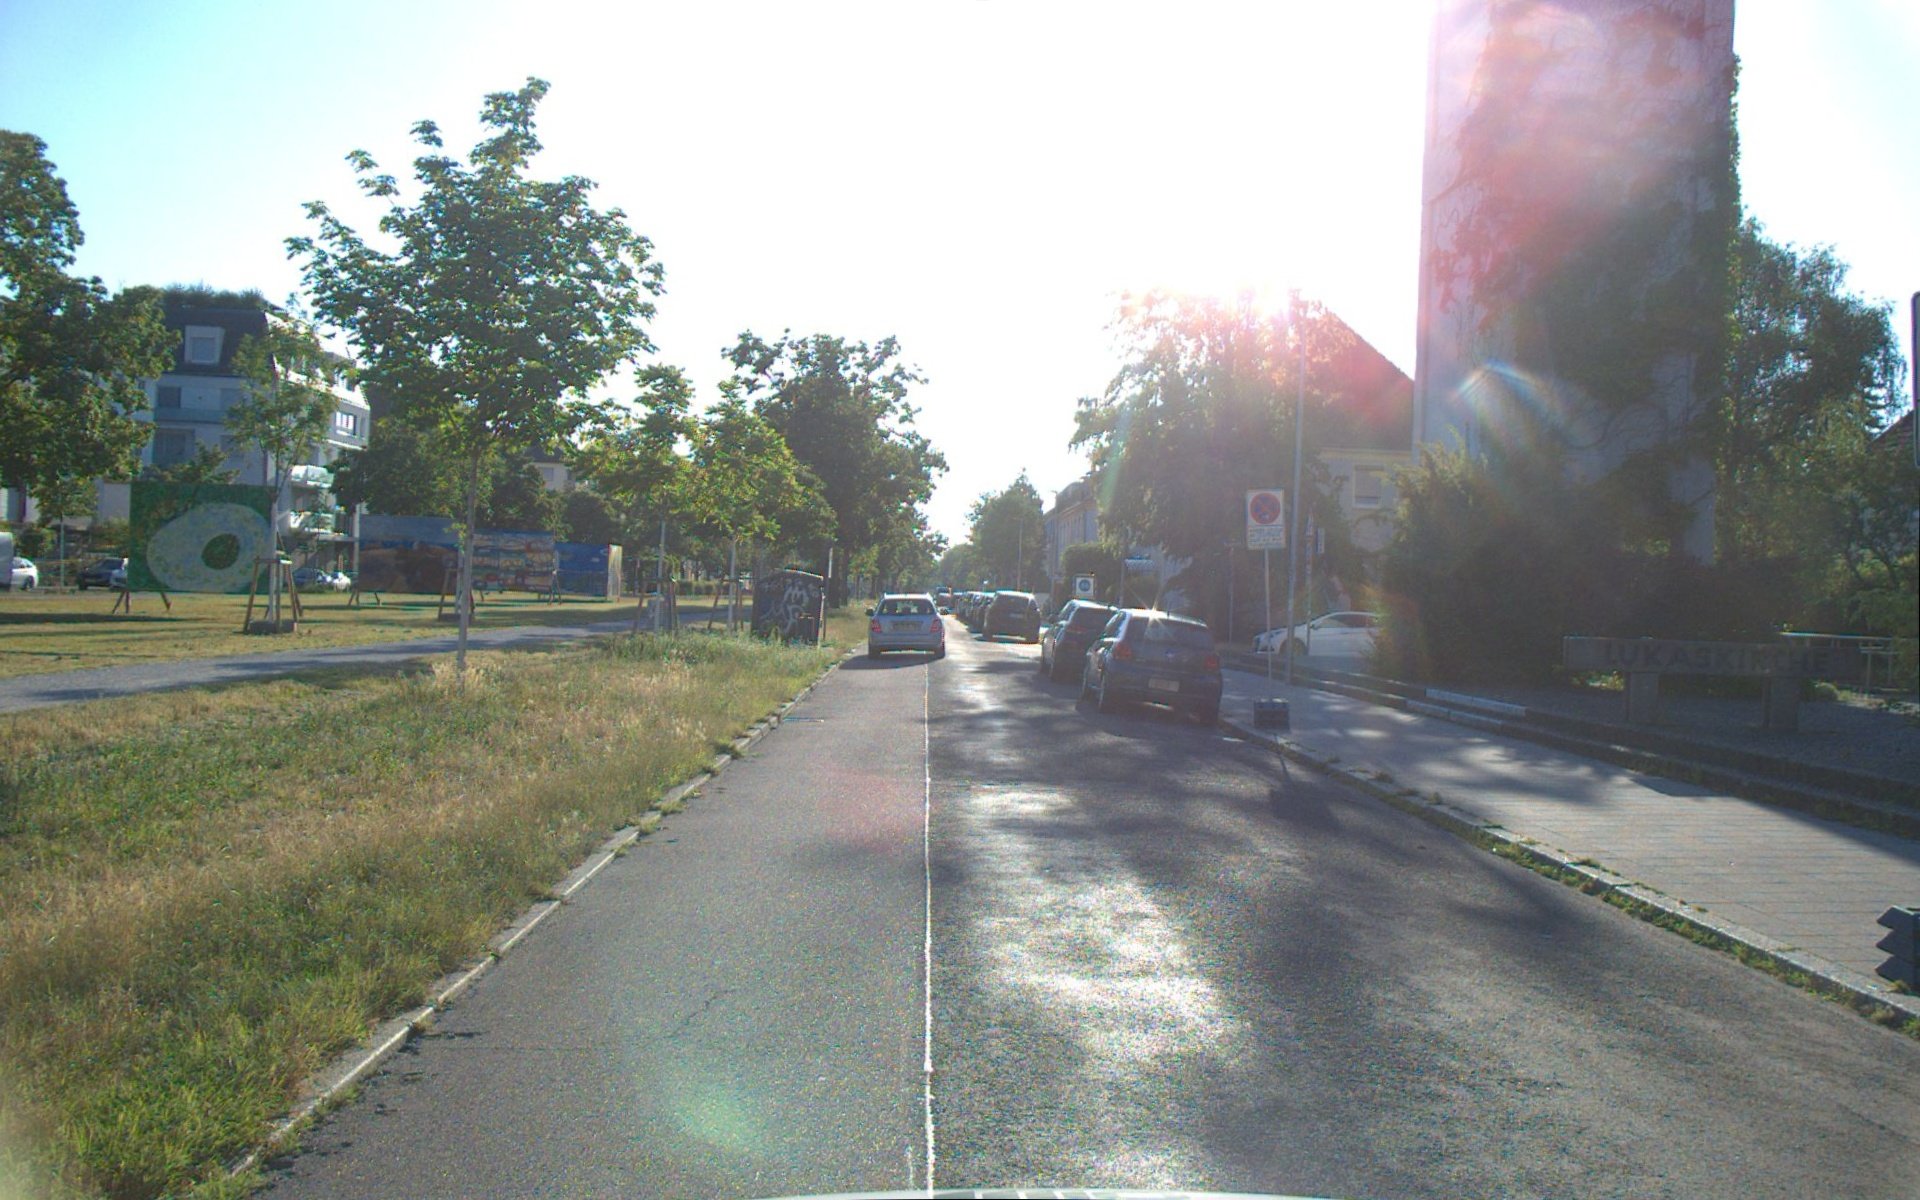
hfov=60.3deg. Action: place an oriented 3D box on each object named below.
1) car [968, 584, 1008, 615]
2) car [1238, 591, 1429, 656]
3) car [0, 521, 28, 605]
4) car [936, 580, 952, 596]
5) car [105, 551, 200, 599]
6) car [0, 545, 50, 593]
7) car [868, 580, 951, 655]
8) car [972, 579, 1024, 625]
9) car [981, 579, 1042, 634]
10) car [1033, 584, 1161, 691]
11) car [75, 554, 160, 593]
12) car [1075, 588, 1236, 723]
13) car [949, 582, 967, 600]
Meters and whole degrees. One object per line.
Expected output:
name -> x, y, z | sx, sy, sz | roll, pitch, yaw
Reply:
car -> 1.434, -0.055, 87.033 | 1.953, 1.487, 4.562 | 3, 1, 0
car -> 10.219, 0.674, 45.501 | 4.749, 1.512, 2.001 | 3, -3, -2
car -> -34.193, -1.259, 55.787 | 2.214, 2.875, 5.870 | -2, 0, -1
car -> -2.072, -1.580, 215.685 | 1.948, 2.058, 4.000 | 2, 0, -1
car -> -34.798, -1.044, 71.406 | 1.796, 1.932, 4.642 | -2, 0, 0
car -> -40.357, -1.301, 69.503 | 1.695, 1.886, 4.712 | -2, 0, -1
car -> -1.129, 0.363, 38.166 | 1.786, 1.594, 4.000 | 1, 1, -1
car -> 1.612, 0.049, 71.120 | 1.894, 1.750, 4.620 | 4, 1, -2
car -> 1.801, 0.210, 59.227 | 1.796, 1.761, 5.030 | 4, 0, -2
car -> 2.467, 0.629, 30.897 | 1.787, 1.587, 4.621 | 8, 1, -1
car -> -40.560, -1.235, 79.772 | 1.746, 1.732, 4.665 | -2, 0, -1
car -> 2.738, 0.722, 24.048 | 1.654, 1.554, 4.174 | 6, 1, -1
car -> -0.203, -0.875, 157.380 | 1.686, 1.625, 3.999 | 1, 0, -1
